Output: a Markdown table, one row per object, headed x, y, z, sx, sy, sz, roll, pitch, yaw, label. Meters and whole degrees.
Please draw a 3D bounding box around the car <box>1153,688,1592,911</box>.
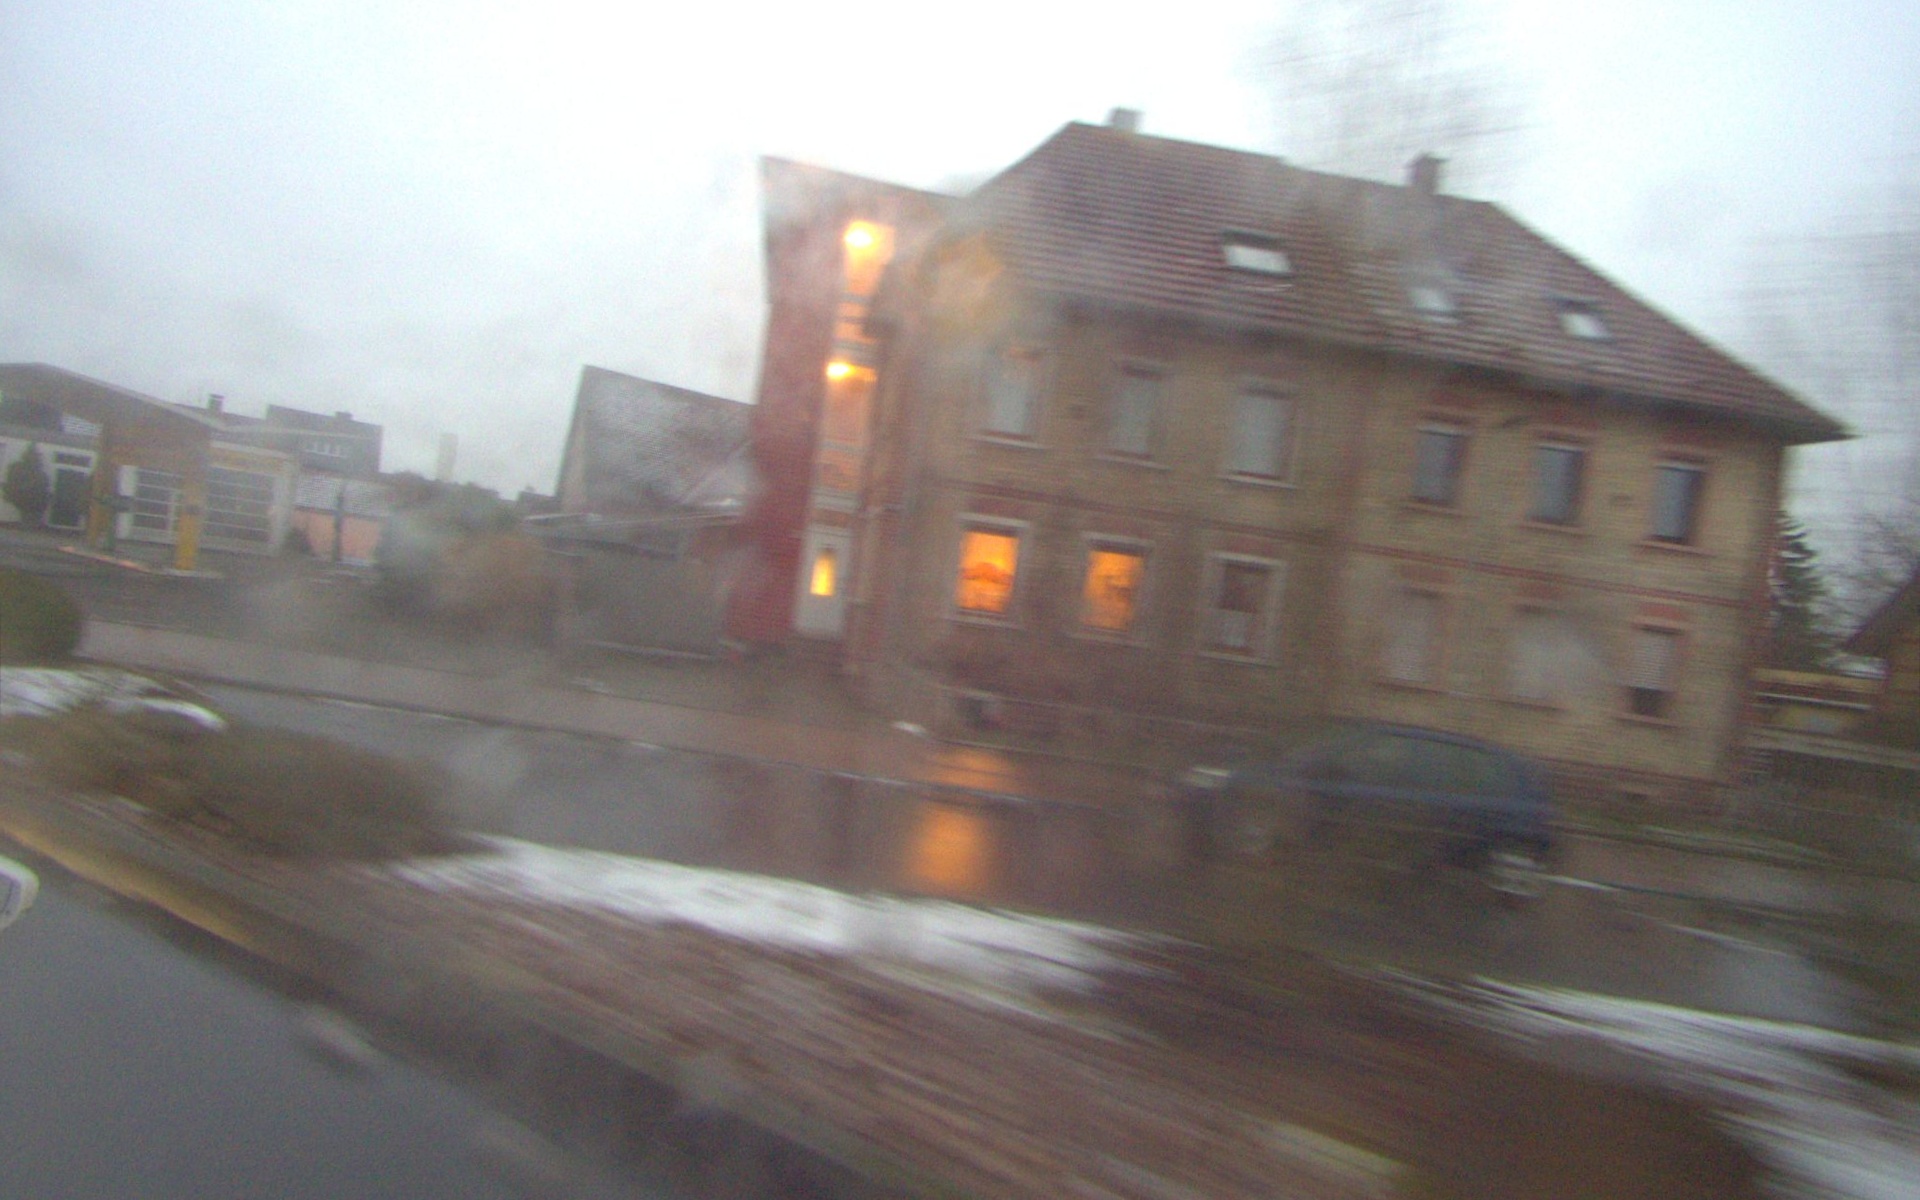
| x | y | z | sx | sy | sz | roll | pitch | yaw | label |
| --- | --- | --- | --- | --- | --- | --- | --- | --- | --- |
| 3.805 | 1.837 | 9.576 | 3.516 | 1.399 | 1.286 | 9 | -1 | -3 | car |
